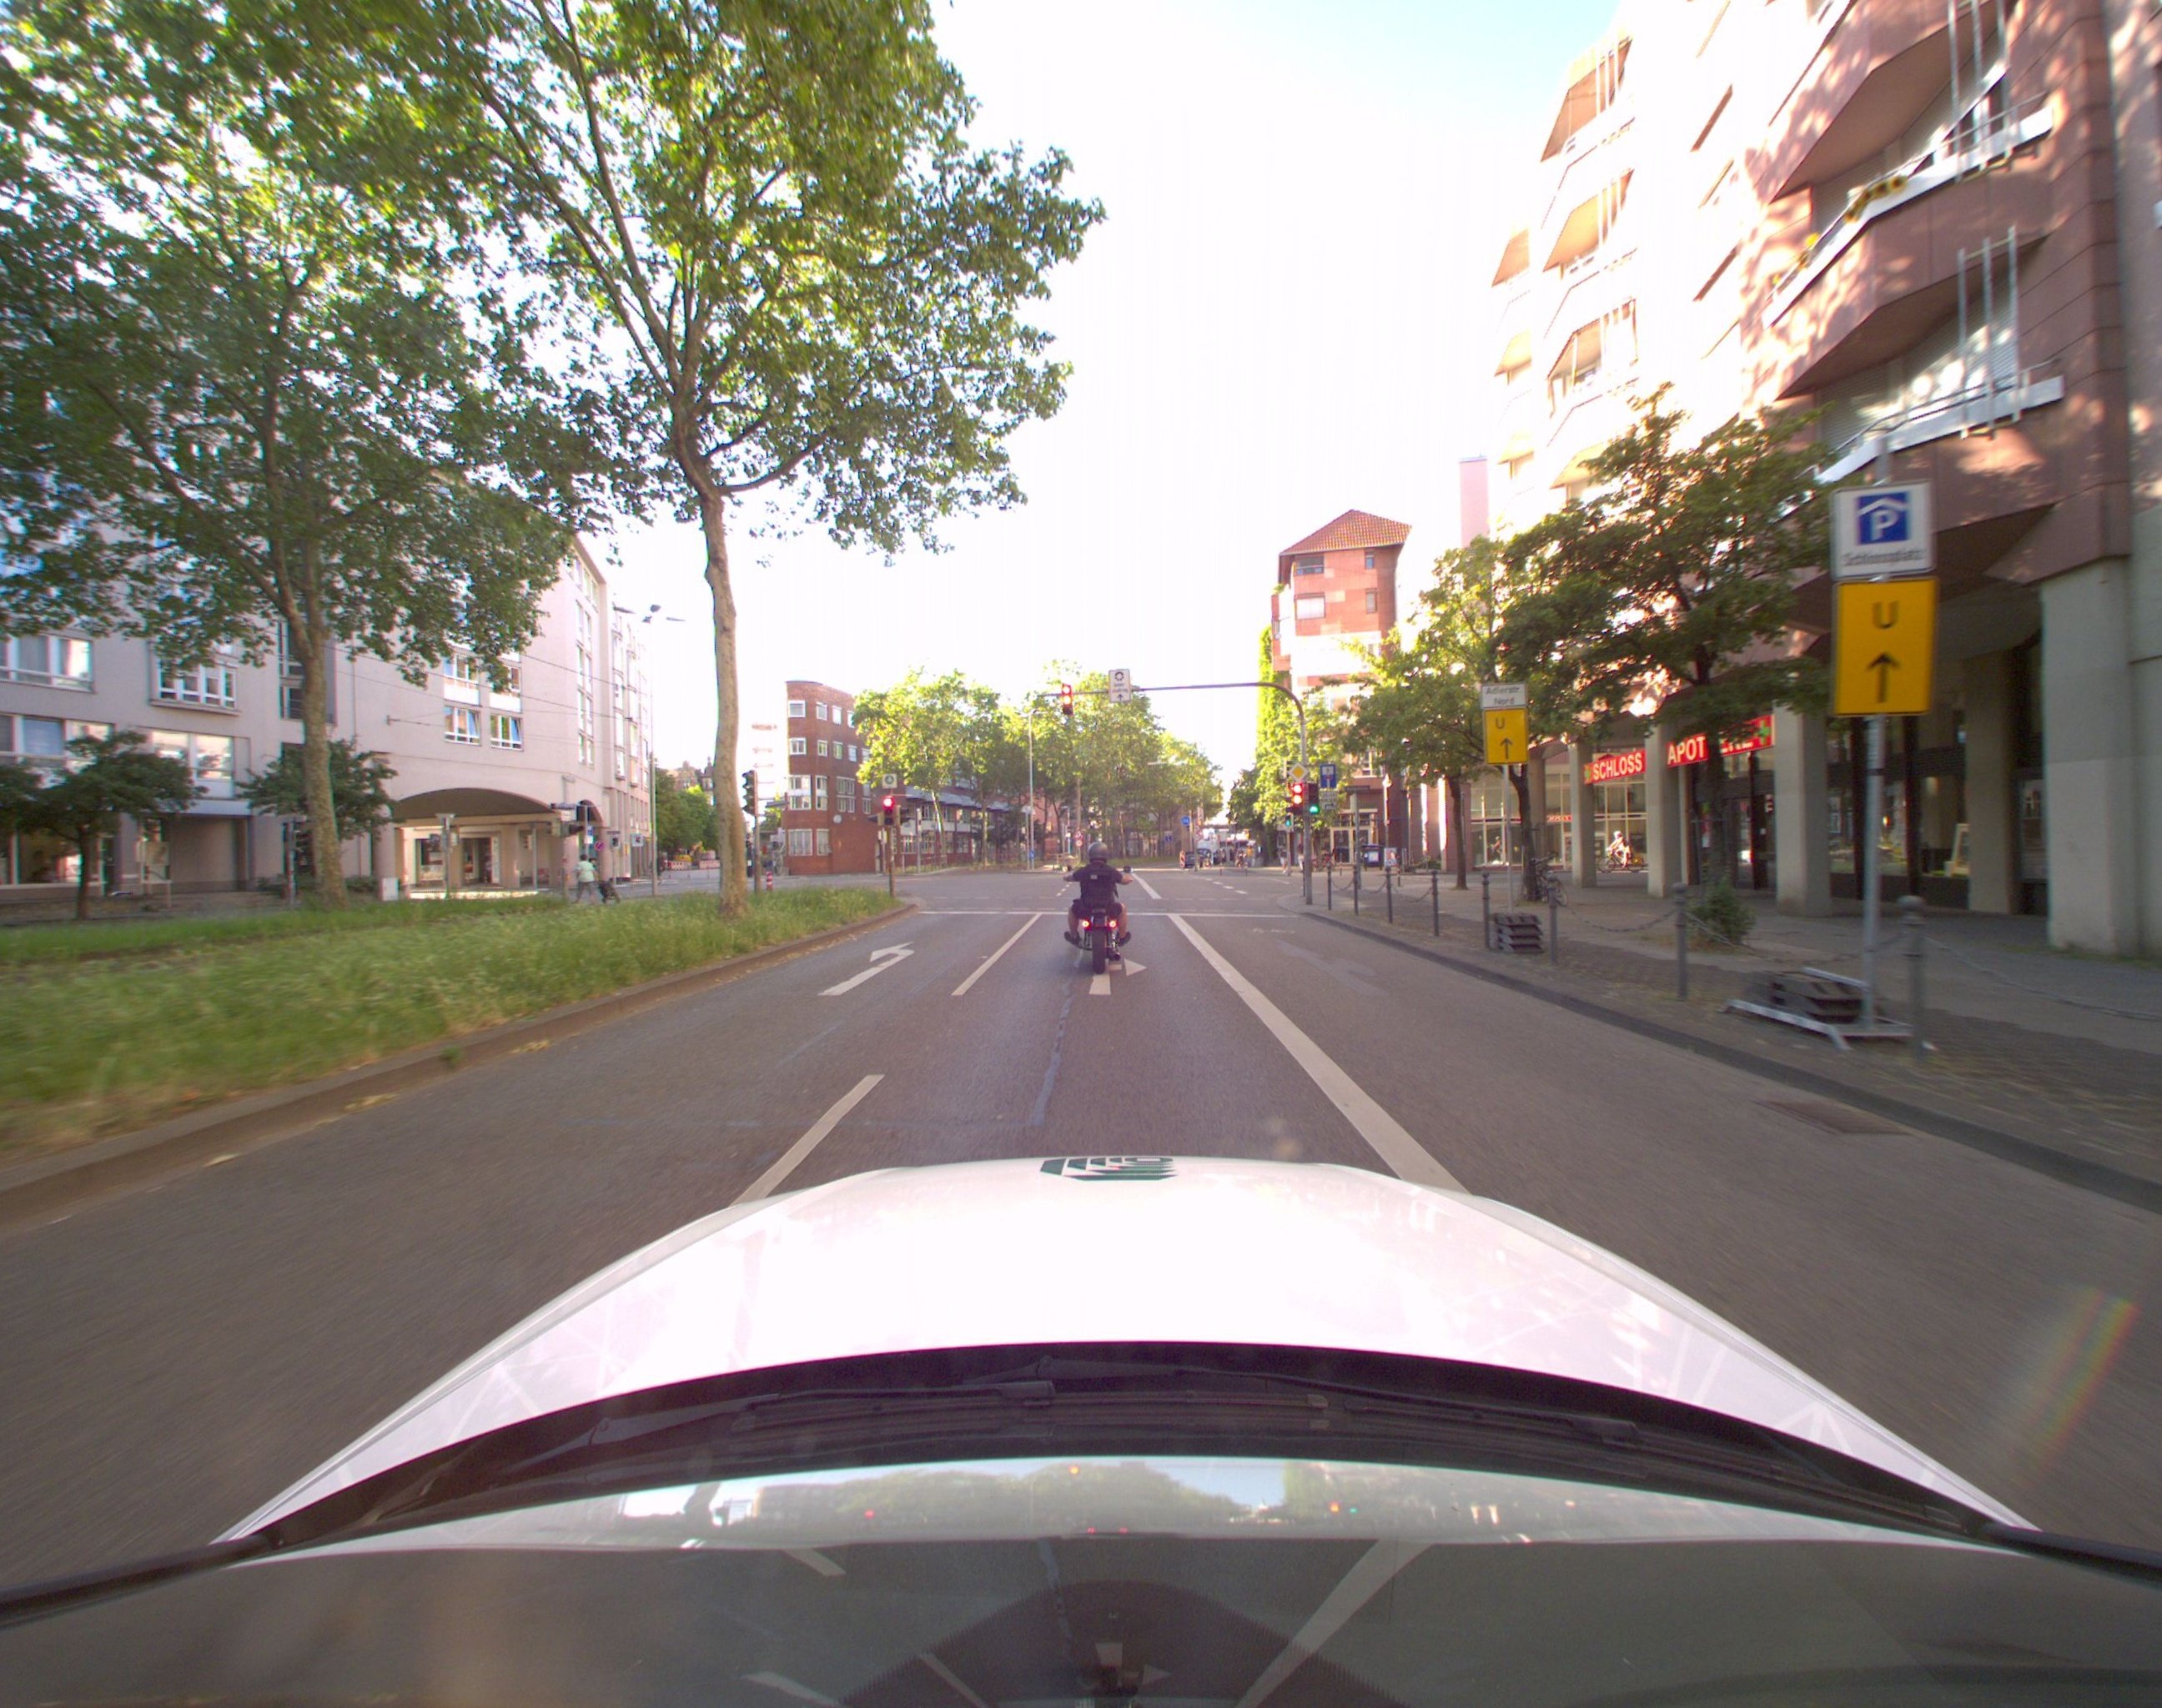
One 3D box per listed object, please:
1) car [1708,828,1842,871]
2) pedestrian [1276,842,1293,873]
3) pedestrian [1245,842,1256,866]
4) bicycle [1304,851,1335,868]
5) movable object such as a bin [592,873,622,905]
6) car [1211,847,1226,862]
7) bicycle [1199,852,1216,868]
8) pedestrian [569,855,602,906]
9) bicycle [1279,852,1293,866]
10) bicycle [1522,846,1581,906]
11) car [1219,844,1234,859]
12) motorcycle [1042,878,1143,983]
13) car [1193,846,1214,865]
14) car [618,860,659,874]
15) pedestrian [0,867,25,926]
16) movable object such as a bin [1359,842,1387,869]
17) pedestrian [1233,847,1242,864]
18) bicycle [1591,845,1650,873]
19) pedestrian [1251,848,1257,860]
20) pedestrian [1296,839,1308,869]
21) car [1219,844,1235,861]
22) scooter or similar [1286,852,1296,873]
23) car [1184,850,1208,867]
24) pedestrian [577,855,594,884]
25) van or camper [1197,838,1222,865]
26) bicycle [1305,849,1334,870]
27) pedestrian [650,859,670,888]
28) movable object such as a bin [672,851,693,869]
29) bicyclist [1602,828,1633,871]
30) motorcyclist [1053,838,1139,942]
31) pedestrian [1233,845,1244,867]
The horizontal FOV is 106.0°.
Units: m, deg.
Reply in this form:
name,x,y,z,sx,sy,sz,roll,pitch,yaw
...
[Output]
name,x,y,z,sx,sy,sz,roll,pitch,yaw
car,30.518,-0.184,35.936,4.158,1.721,1.807,-2,0,11
pedestrian,11.697,0.194,46.779,0.783,1.763,0.610,-2,0,-1
pedestrian,12.270,-0.025,58.954,0.697,1.733,0.769,-1,0,6
bicycle,15.222,0.340,51.979,1.730,1.053,0.744,-1,0,30
movable object such as a bin,-14.376,1.060,24.701,0.506,0.953,0.542,-1,0,16
car,15.969,0.017,94.339,1.610,1.610,3.786,-2,0,11
bicycle,9.012,0.427,58.121,0.736,1.053,1.748,-1,0,-6
pedestrian,-15.030,0.792,24.698,0.613,1.503,0.537,-1,0,16
bicycle,14.370,0.312,57.176,0.733,0.939,1.755,-1,0,7
bicycle,10.241,0.448,17.795,0.617,1.225,1.934,-1,0,15
car,19.815,-0.372,110.658,1.823,2.013,4.402,-2,0,12
motorcycle,0.205,0.904,10.237,1.012,1.097,2.012,-1,0,7
car,11.323,0.118,75.074,1.609,1.619,4.500,-2,0,12
car,-50.138,1.453,92.335,4.013,1.400,1.980,-2,0,-31
pedestrian,-30.733,1.213,23.045,0.702,1.638,0.791,-1,0,13
movable object such as a bin,16.508,0.086,46.081,1.400,1.482,0.875,-1,0,14
pedestrian,15.288,0.137,79.761,0.759,1.644,0.548,-2,0,5
bicycle,22.822,0.211,34.489,1.903,1.113,0.806,-2,0,10
pedestrian,20.407,-0.007,96.063,0.760,1.445,0.782,-1,0,11
pedestrian,12.578,-0.023,46.342,0.457,1.672,0.680,-2,0,3
car,18.895,-0.221,105.327,1.823,2.013,4.402,-2,0,12
scooter or similar,12.071,0.474,46.913,0.392,1.158,1.252,-2,0,8
car,9.228,0.345,65.190,1.610,1.302,4.325,-2,0,11
pedestrian,-35.309,1.107,58.031,0.836,2.013,0.882,-1,0,-17
van or camper,12.895,-0.251,81.309,2.035,2.540,5.793,-2,0,13
bicycle,14.332,0.346,48.901,1.558,1.227,0.579,-1,0,8
pedestrian,-27.884,1.273,53.901,0.851,1.869,0.753,-2,0,4
movable object such as a bin,-55.192,0.823,112.711,1.928,2.310,2.777,-2,0,-12
bicyclist,22.733,-0.199,34.495,0.820,1.770,0.790,-2,0,11
motorcyclist,0.212,0.438,10.392,1.006,1.263,0.775,1,0,7
pedestrian,11.431,0.129,59.097,0.641,1.578,0.749,-1,0,6
